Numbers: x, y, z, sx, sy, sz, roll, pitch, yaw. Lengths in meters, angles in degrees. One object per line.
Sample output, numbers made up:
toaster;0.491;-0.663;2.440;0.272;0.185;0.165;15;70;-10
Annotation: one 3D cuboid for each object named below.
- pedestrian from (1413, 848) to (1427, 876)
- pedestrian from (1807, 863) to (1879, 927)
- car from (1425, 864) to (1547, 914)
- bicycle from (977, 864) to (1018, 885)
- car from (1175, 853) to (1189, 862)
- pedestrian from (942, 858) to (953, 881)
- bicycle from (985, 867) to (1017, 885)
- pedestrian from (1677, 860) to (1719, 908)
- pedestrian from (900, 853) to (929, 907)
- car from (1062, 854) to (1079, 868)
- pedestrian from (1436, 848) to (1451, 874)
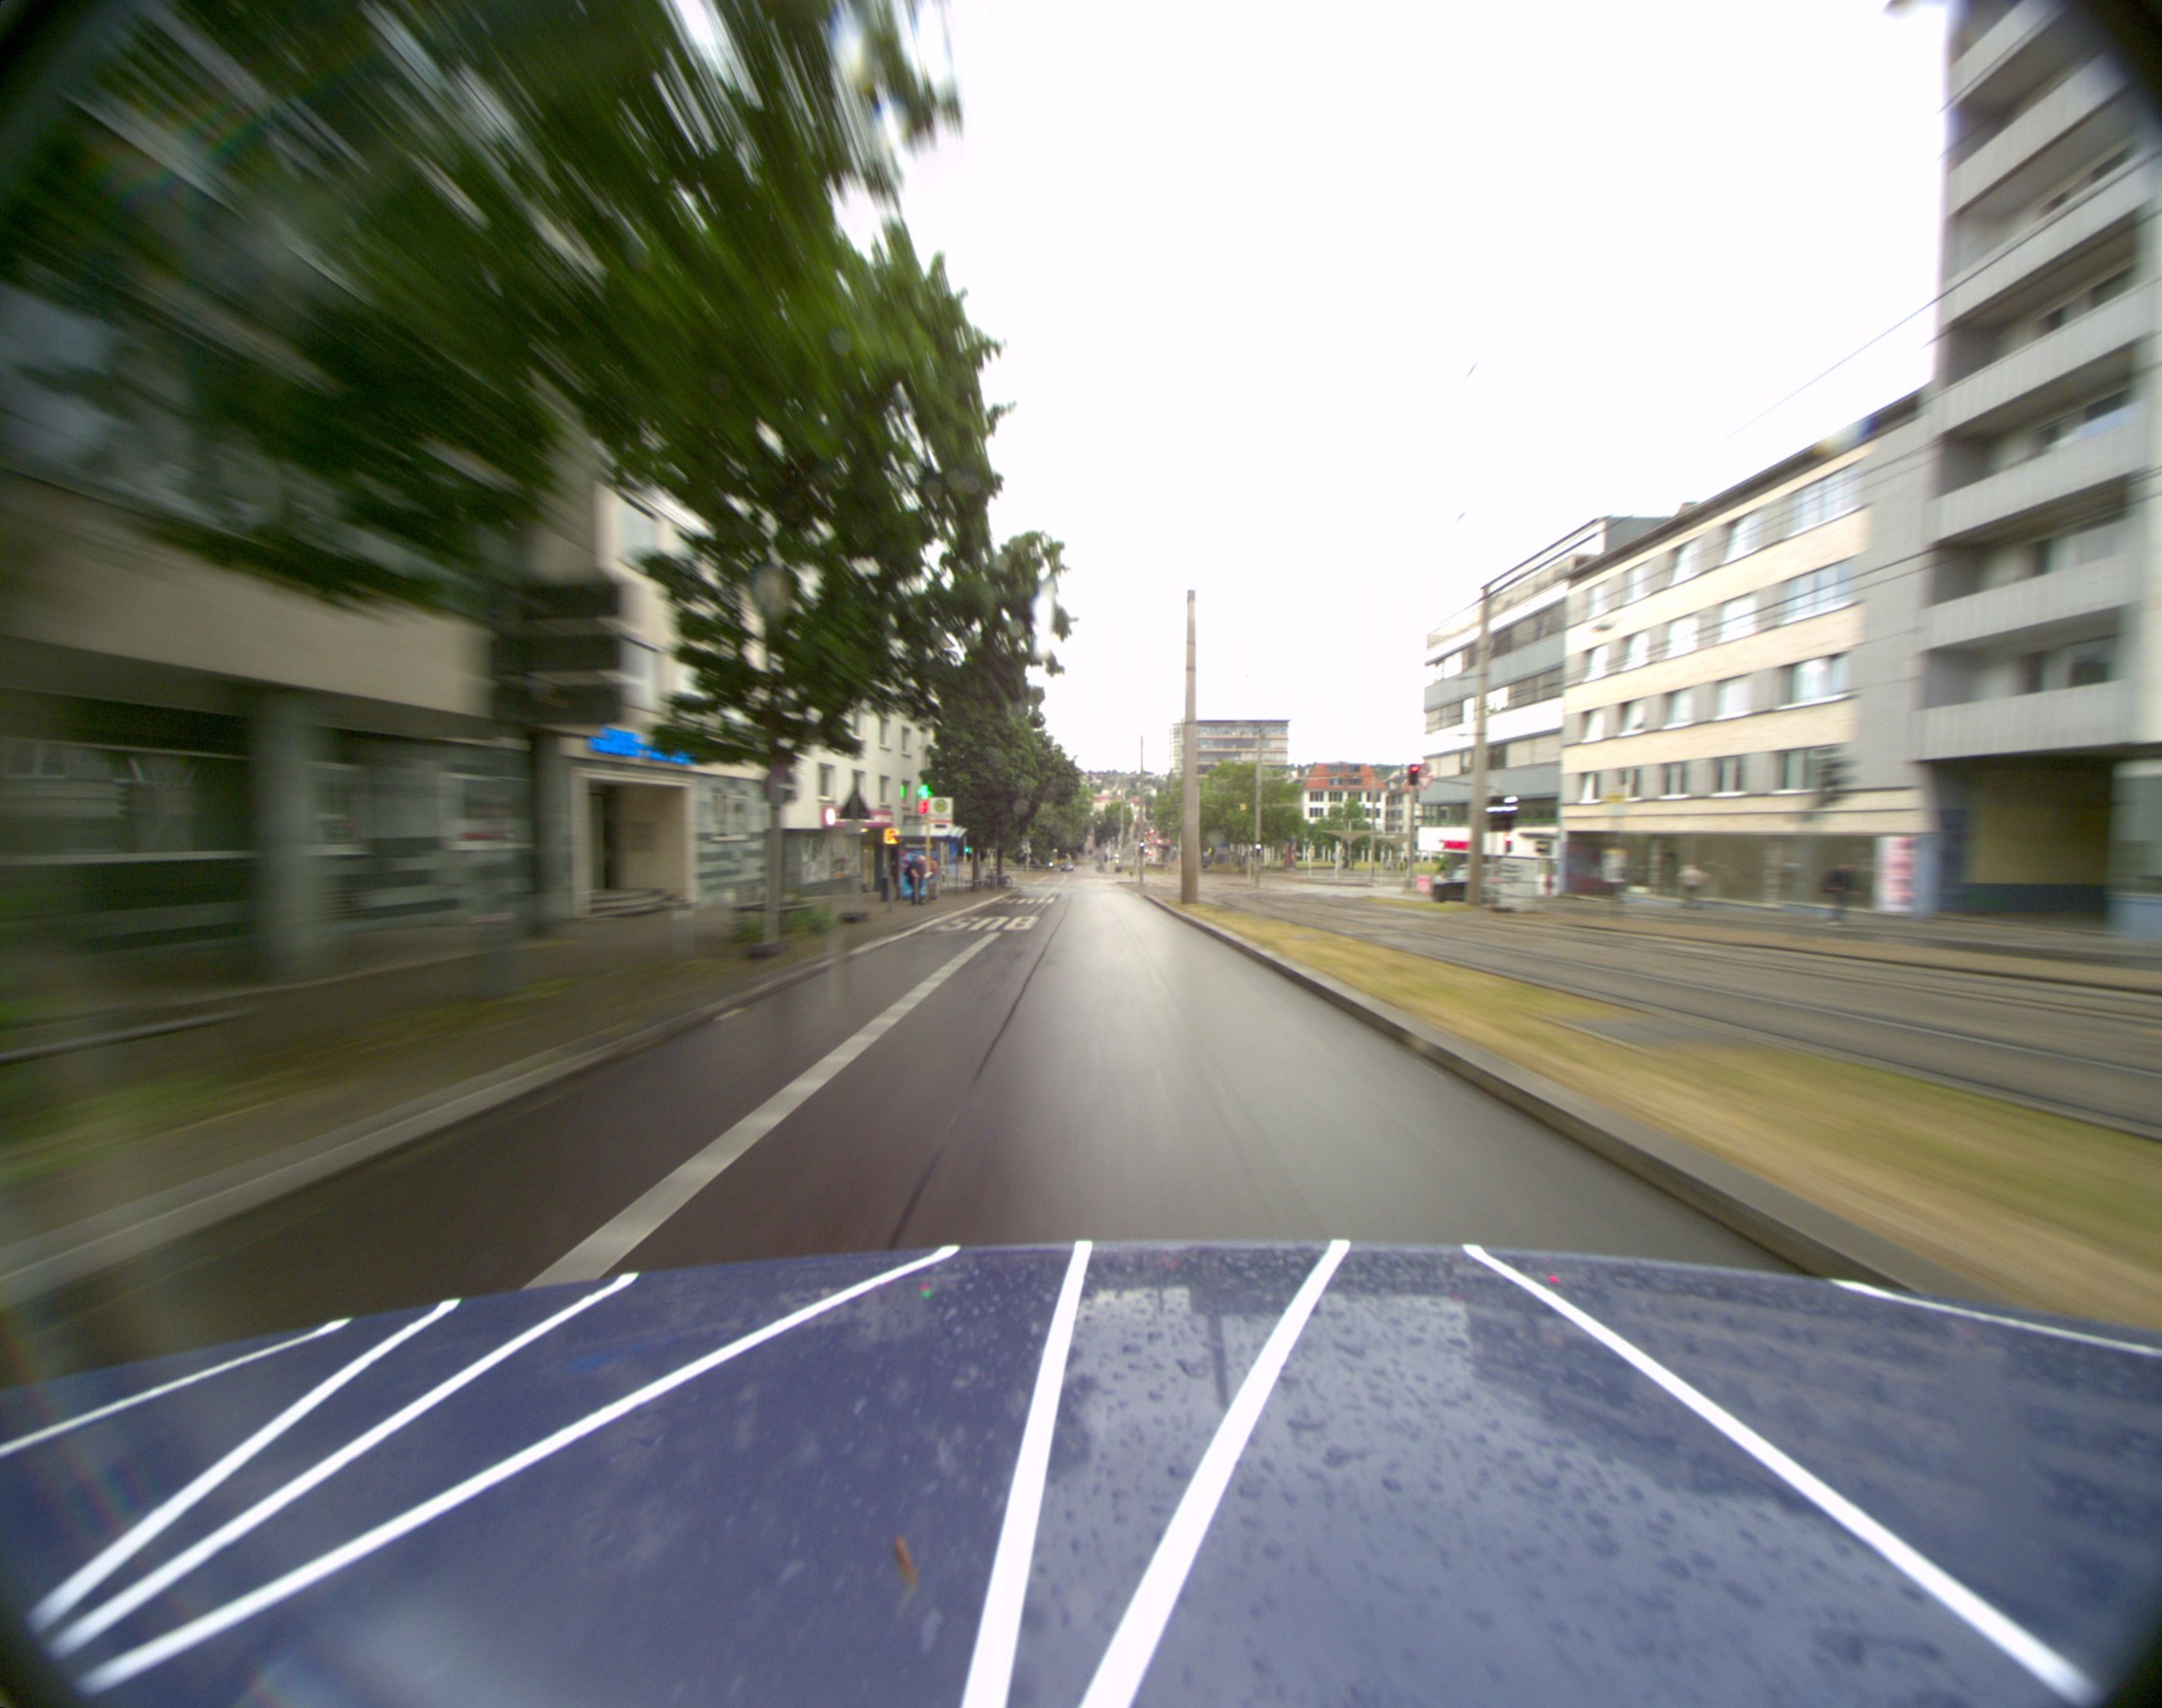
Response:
pedestrian;23.871;0.567;53.475;0.696;1.903;0.721;2;2;42
pedestrian;20.342;1.075;20.315;0.890;1.671;0.998;1;0;-1
car;15.060;1.242;28.594;1.999;1.663;4.526;1;0;-3
bicycle;-4.885;1.206;44.627;2.321;1.167;0.649;1;1;4
car;18.106;0.684;136.113;2.104;1.497;4.731;1;1;2
pedestrian;-10.227;1.185;58.067;0.703;1.702;0.530;2;2;42
bicycle;-4.893;1.361;46.532;1.820;1.085;0.650;1;-1;4
pedestrian;22.075;1.074;27.199;0.680;1.671;0.998;1;0;-1
pedestrian;-5.116;0.785;23.440;0.666;1.617;0.968;0;0;0
car;-1.412;0.923;103.135;1.998;1.696;4.000;0;1;2
pedestrian;26.873;0.509;56.348;0.719;1.903;0.698;1;1;-1
